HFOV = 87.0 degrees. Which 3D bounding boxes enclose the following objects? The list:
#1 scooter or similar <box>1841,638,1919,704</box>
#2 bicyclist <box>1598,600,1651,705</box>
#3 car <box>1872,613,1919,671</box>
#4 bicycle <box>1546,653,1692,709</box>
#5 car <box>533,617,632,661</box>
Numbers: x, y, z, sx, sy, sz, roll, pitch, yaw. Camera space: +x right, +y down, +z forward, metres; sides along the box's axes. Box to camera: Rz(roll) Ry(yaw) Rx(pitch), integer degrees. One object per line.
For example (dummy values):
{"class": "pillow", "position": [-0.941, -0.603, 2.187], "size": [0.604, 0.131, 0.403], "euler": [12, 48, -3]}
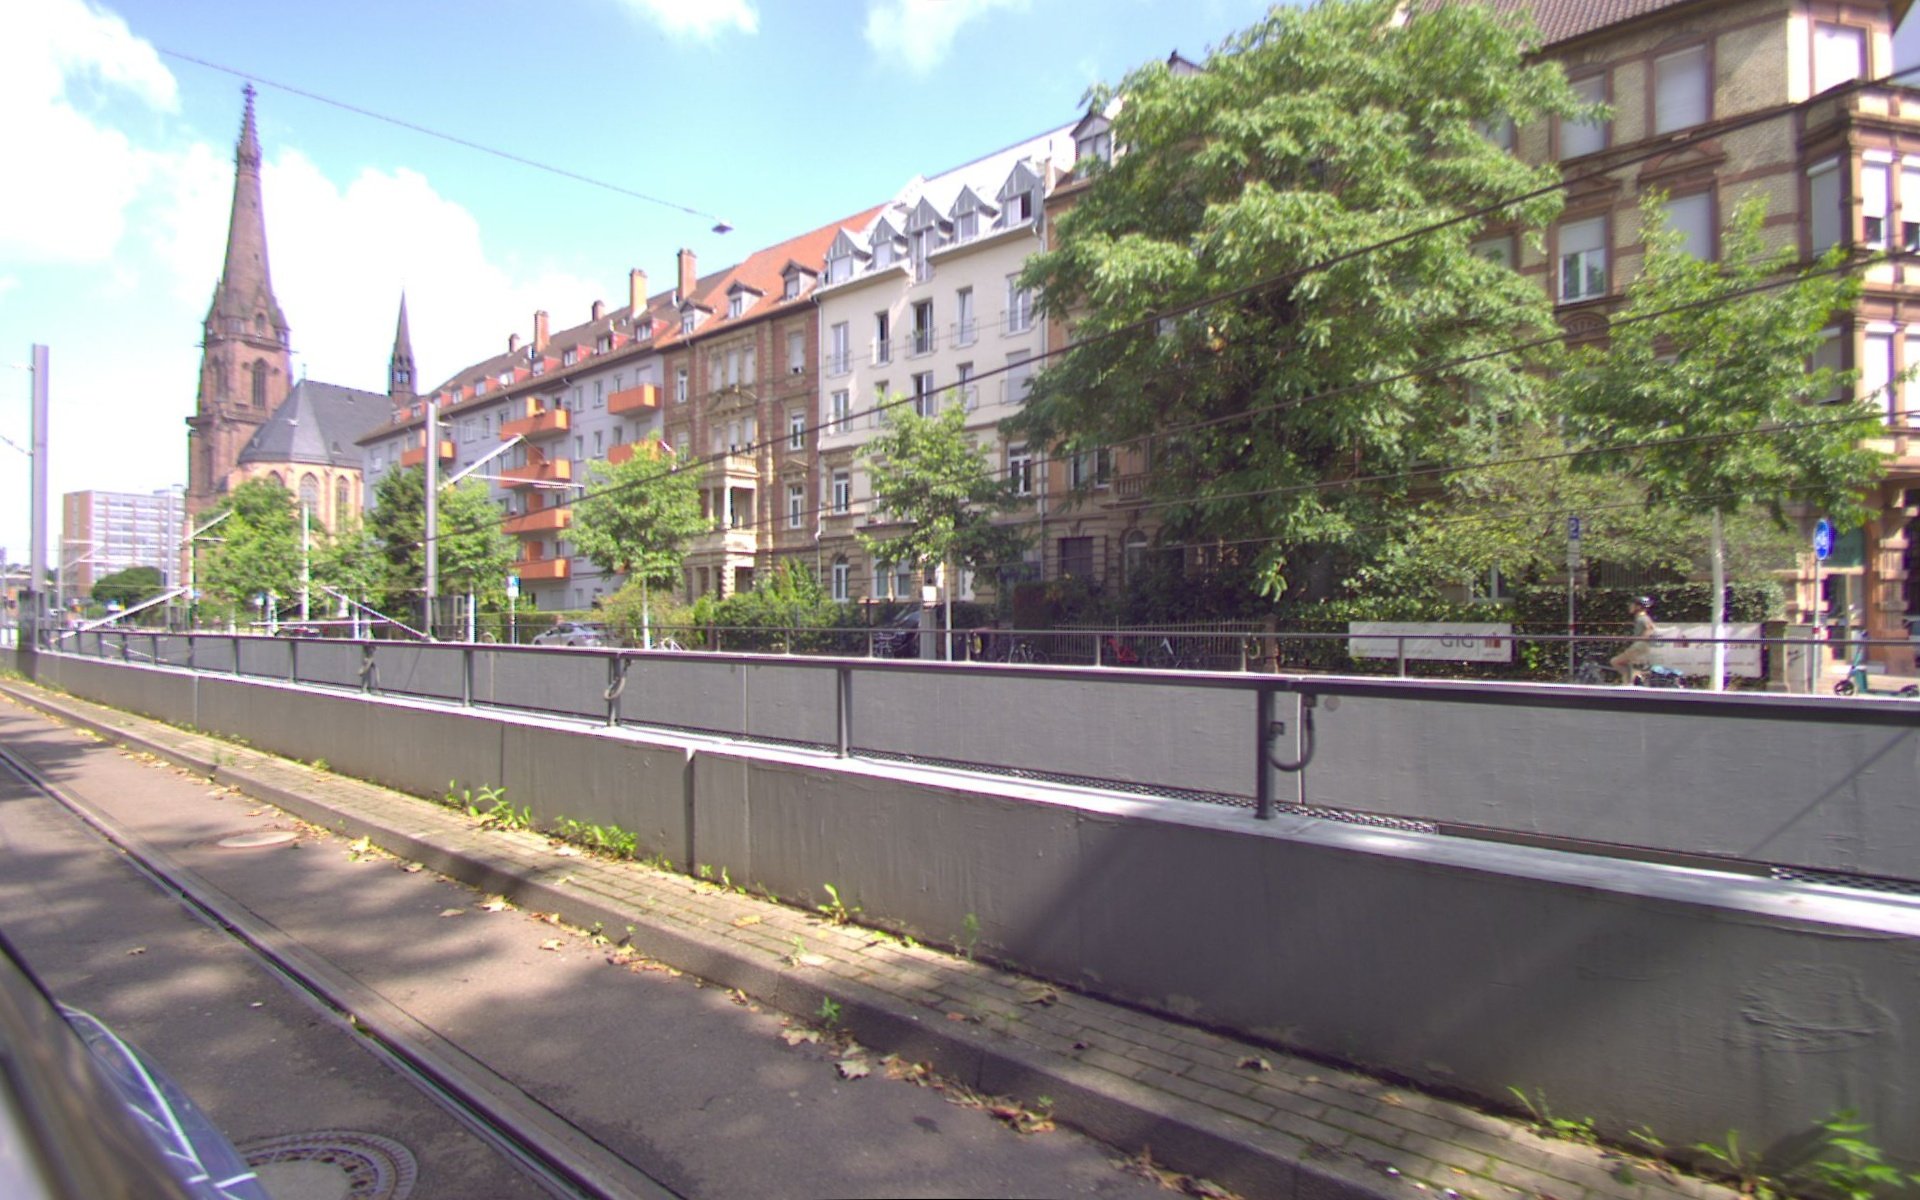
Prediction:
{"class": "scooter or similar", "position": [16.214, 1.220, 17.620], "size": [1.287, 1.090, 0.373], "euler": [-1, 1, 41]}
{"class": "bicyclist", "position": [10.080, 0.788, 15.354], "size": [0.607, 1.556, 0.498], "euler": [-1, -3, 41]}
{"class": "car", "position": [29.859, 1.264, 31.096], "size": [1.920, 1.687, 3.959], "euler": [-1, -1, 30]}
{"class": "bicycle", "position": [10.039, 1.215, 15.458], "size": [1.816, 0.774, 0.491], "euler": [-1, -2, 41]}
{"class": "car", "position": [-15.060, 1.530, 40.258], "size": [4.112, 1.650, 1.973], "euler": [-1, -2, 41]}
